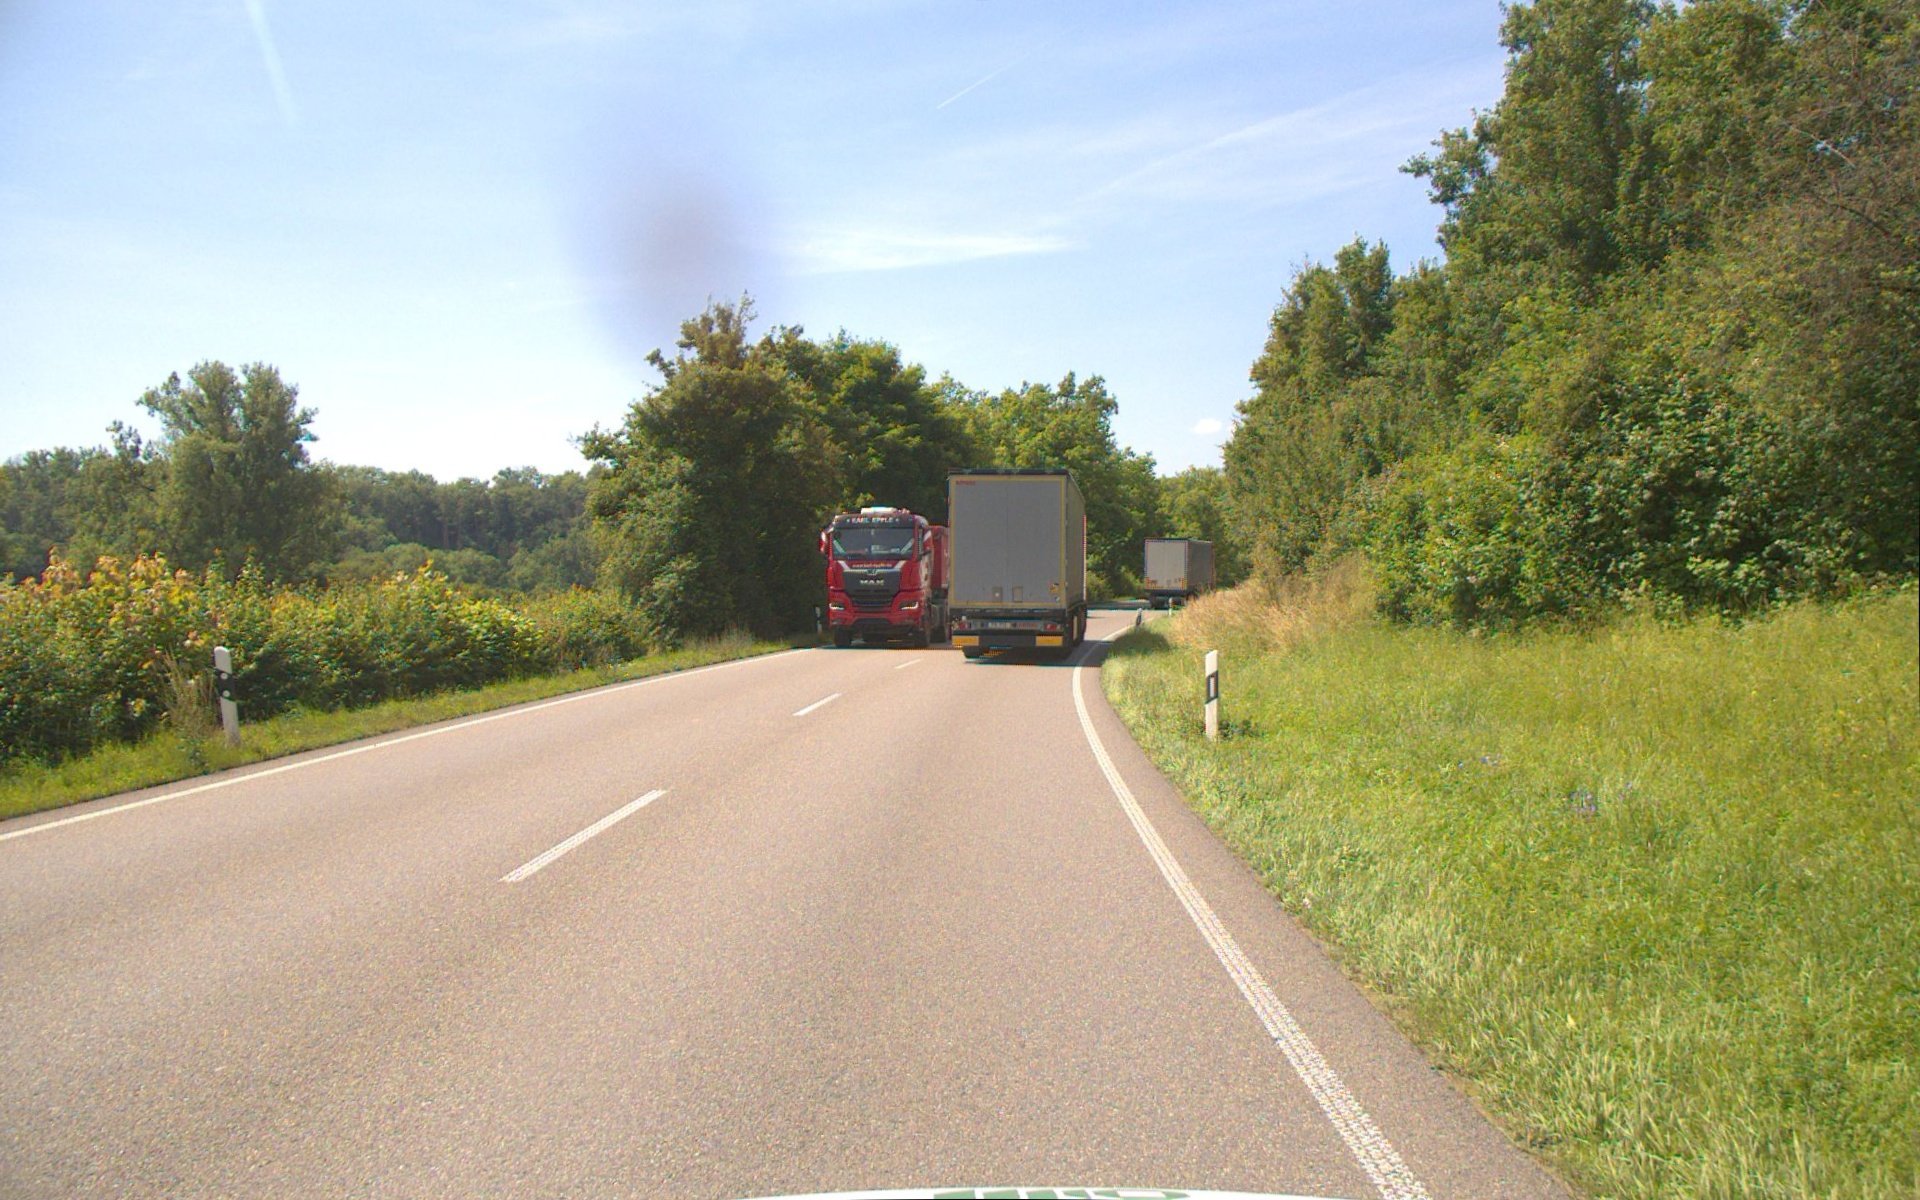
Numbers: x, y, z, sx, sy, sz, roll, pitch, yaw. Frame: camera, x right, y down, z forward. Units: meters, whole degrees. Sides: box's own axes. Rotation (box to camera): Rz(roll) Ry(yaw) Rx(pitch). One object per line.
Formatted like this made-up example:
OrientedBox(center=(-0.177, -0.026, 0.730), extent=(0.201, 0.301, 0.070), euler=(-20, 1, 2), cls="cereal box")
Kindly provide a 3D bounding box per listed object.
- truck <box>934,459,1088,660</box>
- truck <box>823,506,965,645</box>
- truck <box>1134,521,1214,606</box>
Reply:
OrientedBox(center=(1.629, -0.914, 41.859), extent=(2.742, 4.139, 15.336), euler=(1, 1, 6), cls="truck")
OrientedBox(center=(-1.653, -0.649, 48.354), extent=(2.498, 3.513, 12.642), euler=(0, 0, 5), cls="truck")
OrientedBox(center=(13.394, -2.314, 102.188), extent=(3.039, 4.787, 16.605), euler=(-1, 2, 14), cls="truck")
